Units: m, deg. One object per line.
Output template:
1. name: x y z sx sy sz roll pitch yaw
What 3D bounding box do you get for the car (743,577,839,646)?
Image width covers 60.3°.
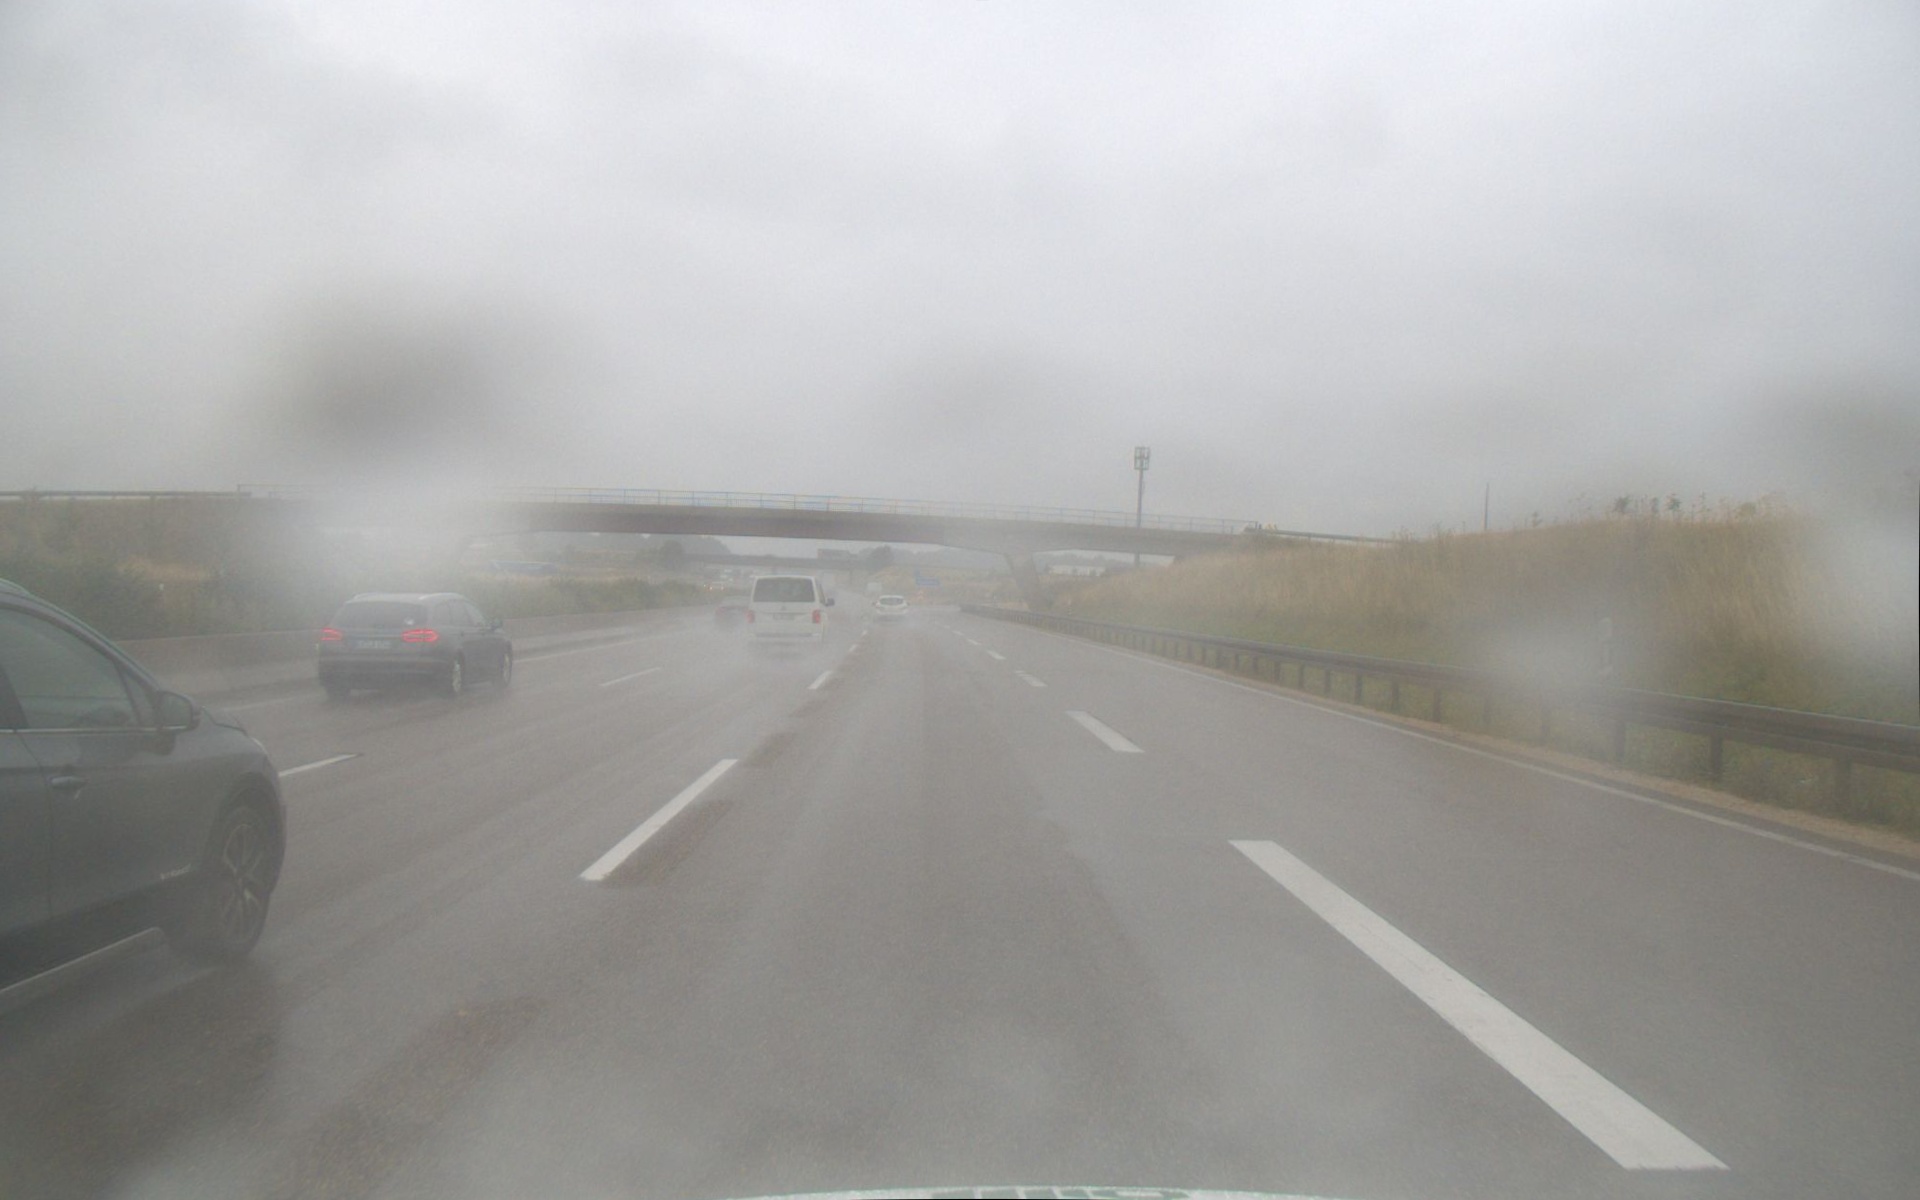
1. car: -4.172 0.284 41.425 1.858 1.613 4.001 1 0 2

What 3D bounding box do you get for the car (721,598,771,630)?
1. car: -8.671 0.556 67.134 1.437 1.279 3.341 1 0 3

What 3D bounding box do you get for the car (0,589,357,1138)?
1. car: -3.619 0.733 5.225 1.809 1.539 4.754 1 0 -2

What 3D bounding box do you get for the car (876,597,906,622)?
1. car: -3.446 0.470 82.382 1.438 1.229 2.990 1 0 -3
